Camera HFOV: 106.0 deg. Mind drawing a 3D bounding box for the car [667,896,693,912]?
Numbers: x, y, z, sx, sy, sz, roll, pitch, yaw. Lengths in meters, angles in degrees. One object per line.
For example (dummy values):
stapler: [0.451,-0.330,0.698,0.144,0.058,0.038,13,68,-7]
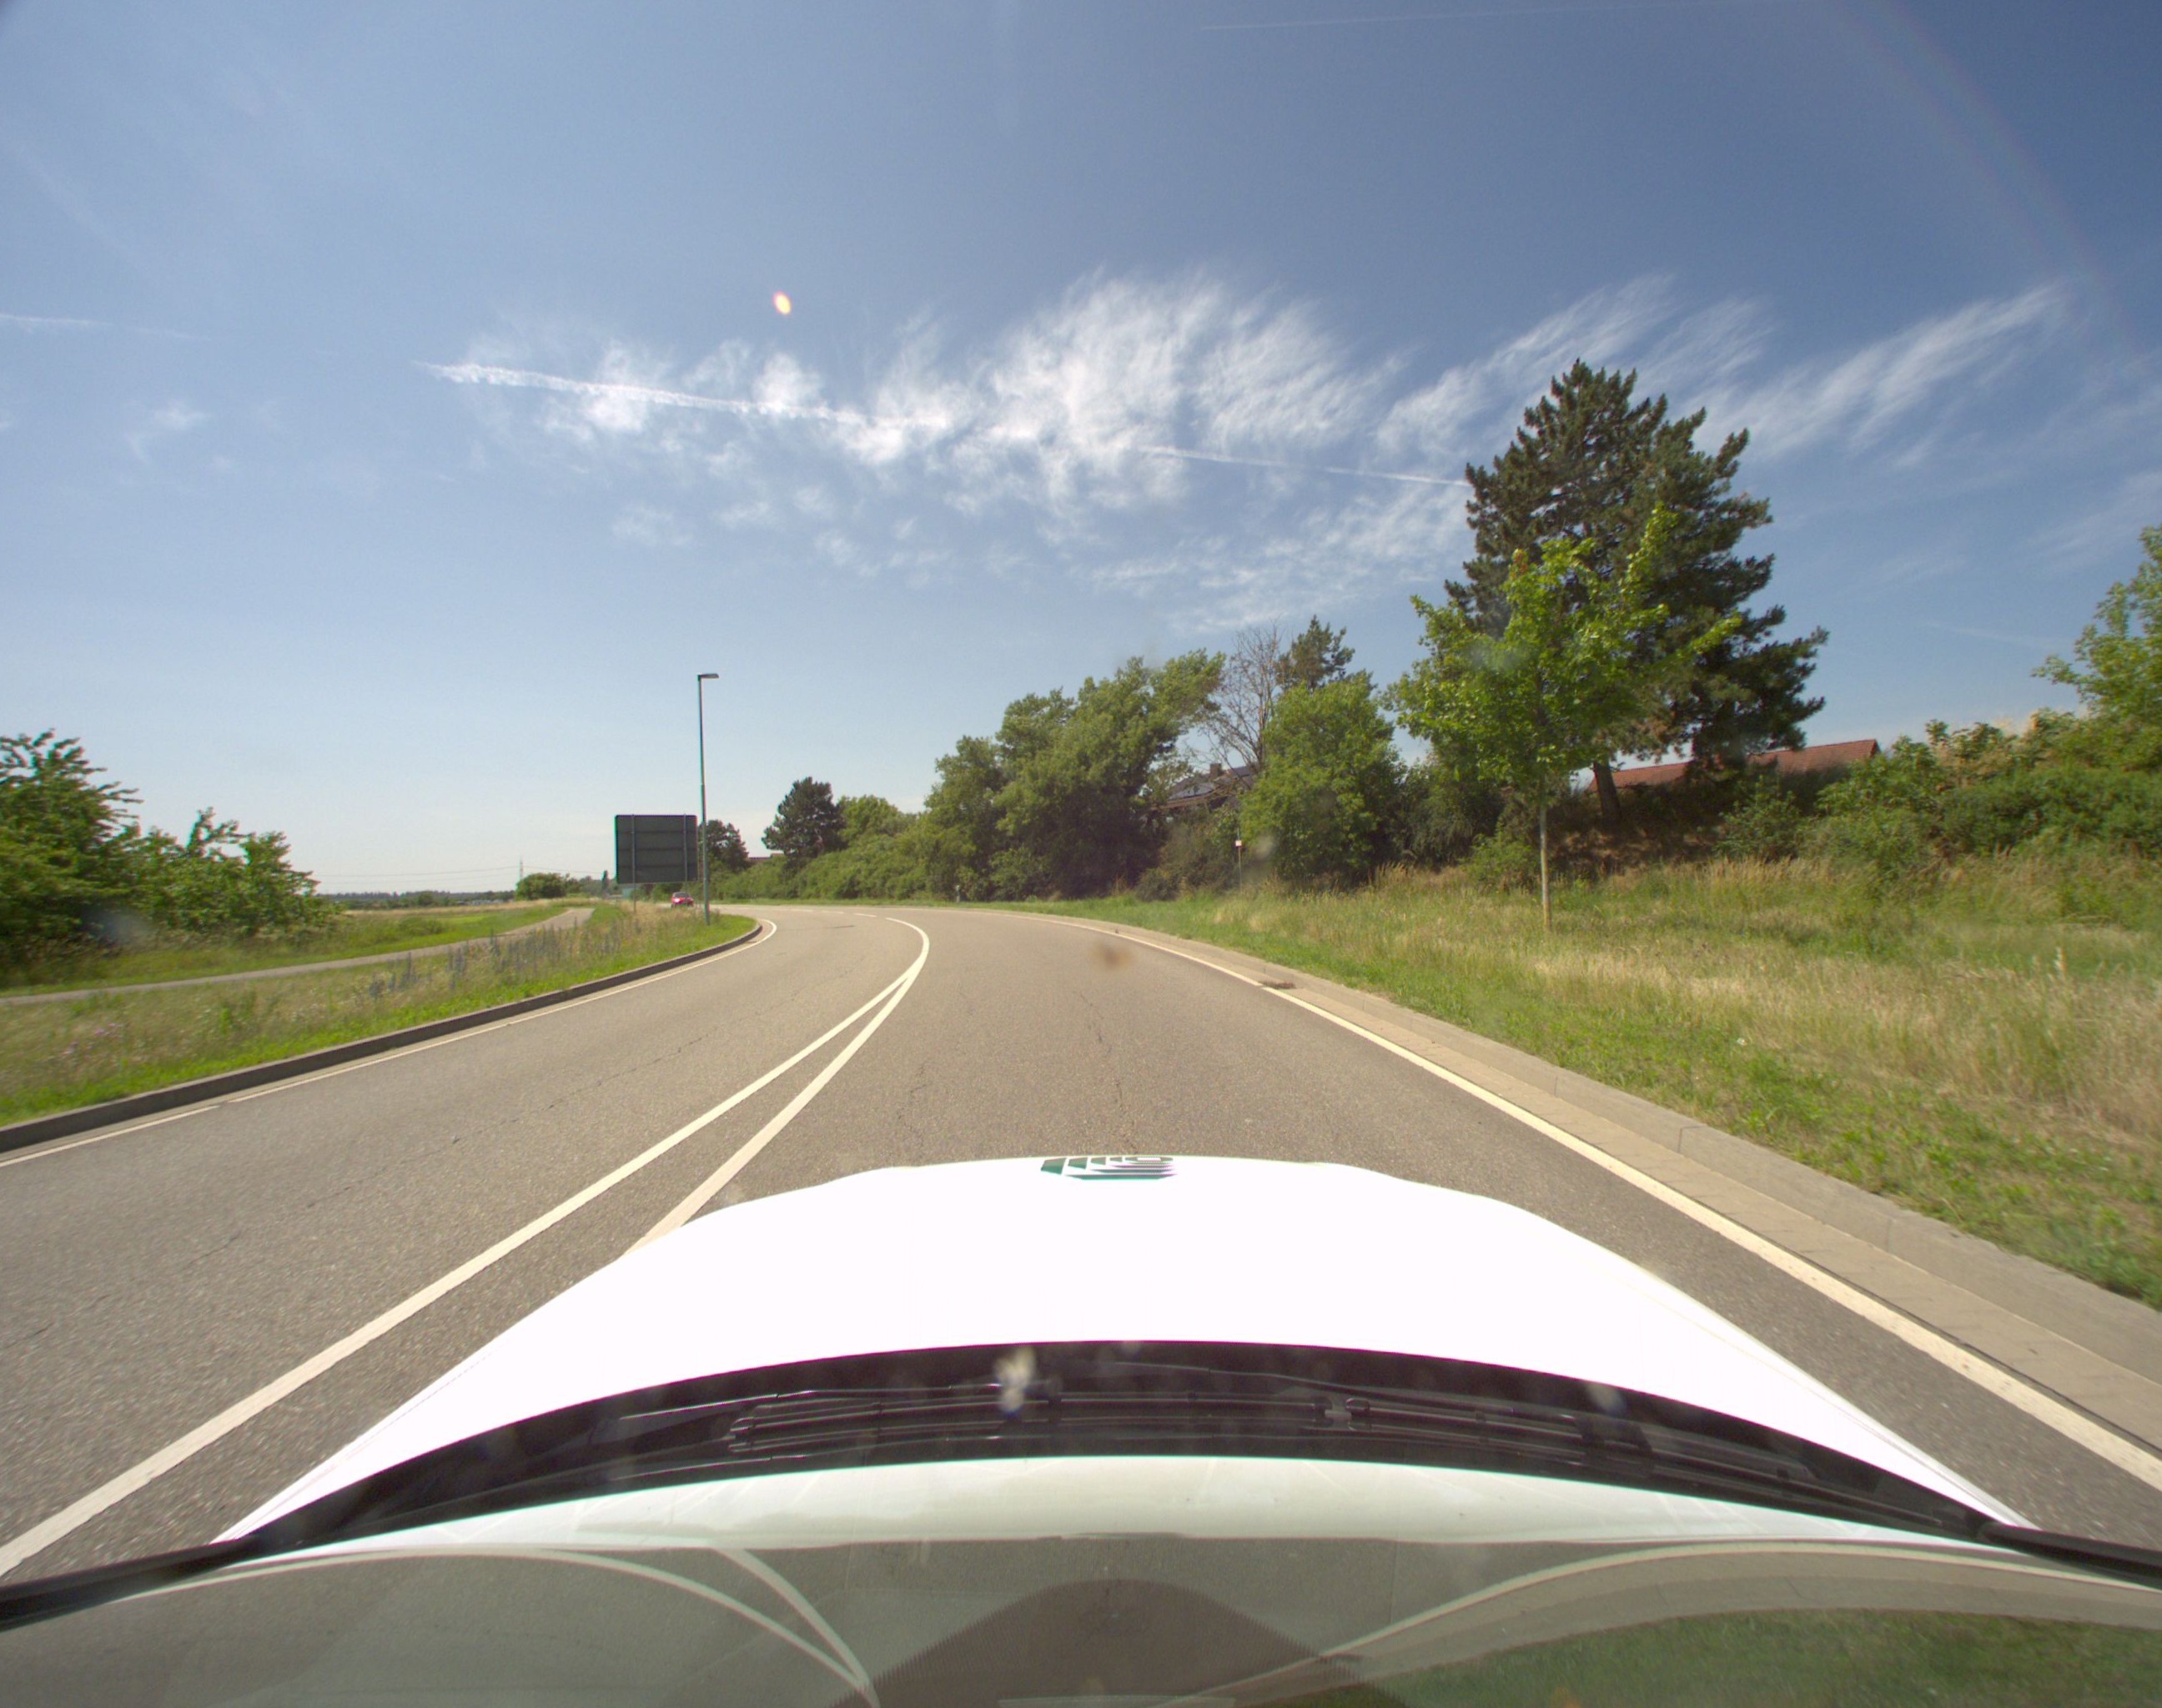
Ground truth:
car: [-37.824,4.702,76.776,1.667,1.433,3.697,-3,-1,-33]
